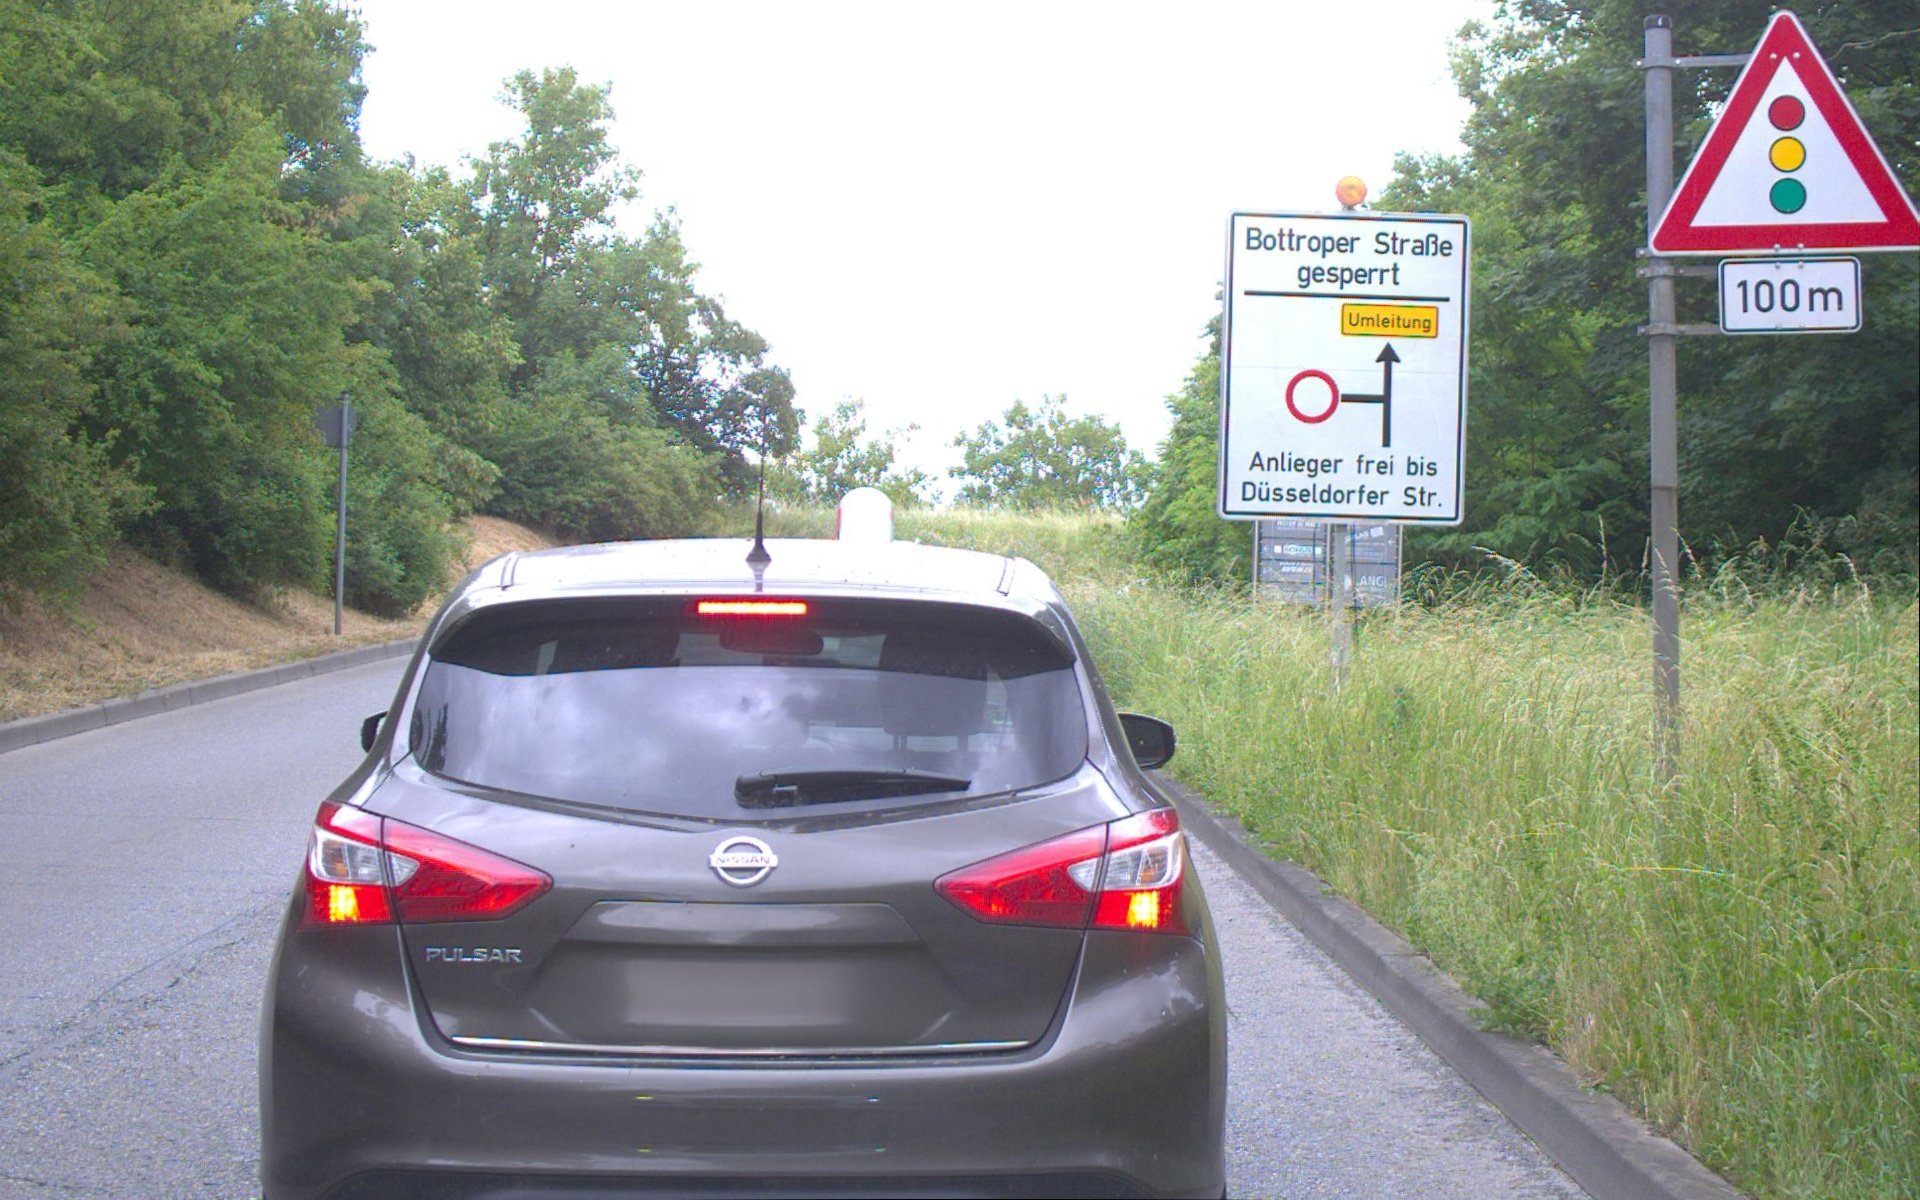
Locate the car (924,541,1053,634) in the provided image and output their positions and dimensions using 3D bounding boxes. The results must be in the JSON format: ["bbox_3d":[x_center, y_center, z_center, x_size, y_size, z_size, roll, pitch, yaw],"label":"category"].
[{"bbox_3d":[0.514,-0.238,58.538,1.736,1.521,3.640,0,1,8],"label":"car"}]

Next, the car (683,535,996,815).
[{"bbox_3d":[-0.679,0.384,20.891,1.736,1.551,3.543,0,1,0],"label":"car"}]

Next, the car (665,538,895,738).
[{"bbox_3d":[-1.437,0.266,28.589,1.736,1.551,3.543,0,1,0],"label":"car"}]

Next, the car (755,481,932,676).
[{"bbox_3d":[-1.217,-0.245,35.757,1.736,1.928,3.544,0,1,-2],"label":"car"}]

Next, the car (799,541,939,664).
[{"bbox_3d":[-1.182,0.004,44.551,1.736,1.521,3.544,0,1,-2],"label":"car"}]

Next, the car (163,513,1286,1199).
[{"bbox_3d":[-0.450,0.609,7.379,1.830,1.551,3.500,0,1,-2],"label":"car"}]

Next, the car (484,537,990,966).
[{"bbox_3d":[-0.817,0.519,14.307,1.830,1.551,3.625,0,1,0],"label":"car"}]
